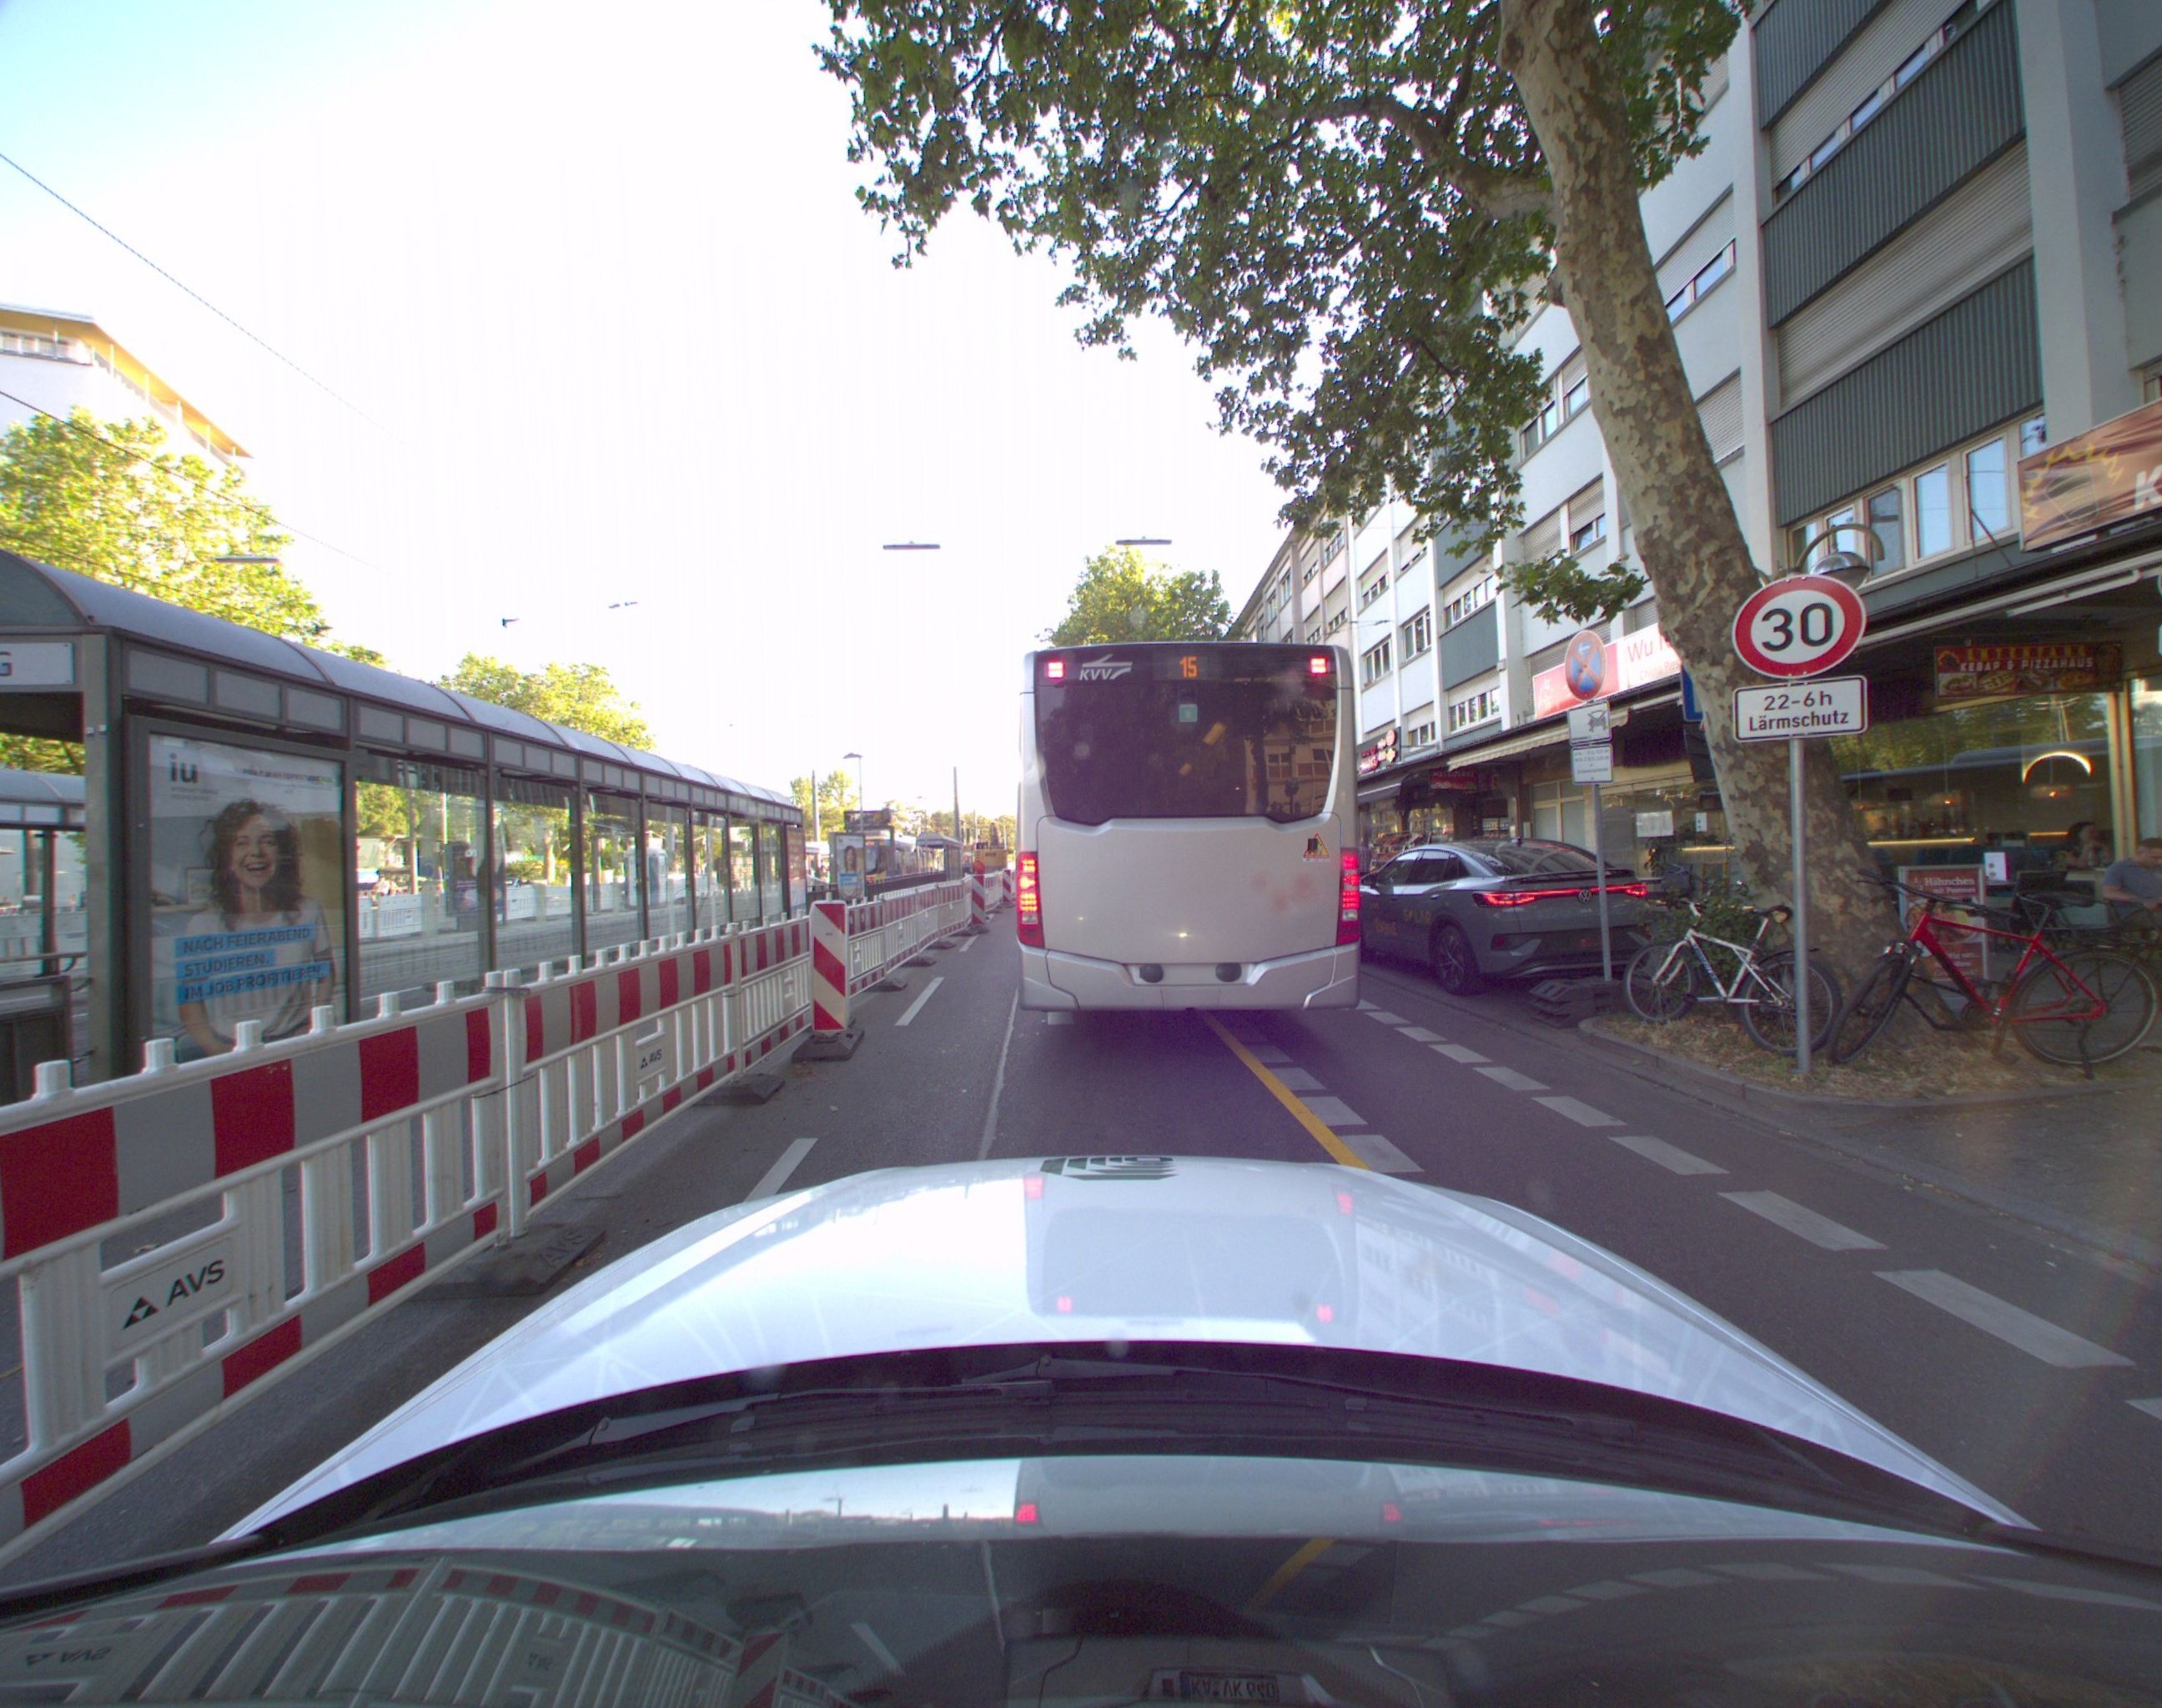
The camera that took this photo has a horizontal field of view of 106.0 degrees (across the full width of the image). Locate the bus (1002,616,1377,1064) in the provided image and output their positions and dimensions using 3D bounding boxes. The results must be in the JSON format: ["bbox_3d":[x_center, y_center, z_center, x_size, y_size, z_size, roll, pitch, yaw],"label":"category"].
[{"bbox_3d":[0.885,-0.072,9.688,2.601,3.126,7.996,0,0,2],"label":"bus"}]

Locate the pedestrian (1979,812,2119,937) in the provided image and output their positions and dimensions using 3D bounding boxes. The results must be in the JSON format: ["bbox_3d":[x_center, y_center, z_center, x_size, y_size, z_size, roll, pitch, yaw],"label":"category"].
[{"bbox_3d":[11.077,0.222,9.336,0.836,1.333,0.963,-2,-1,-39],"label":"pedestrian"}]

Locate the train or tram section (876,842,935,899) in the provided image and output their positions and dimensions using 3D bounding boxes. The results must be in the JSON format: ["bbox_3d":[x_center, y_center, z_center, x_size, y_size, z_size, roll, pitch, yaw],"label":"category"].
[{"bbox_3d":[-12.155,1.080,57.340,2.682,3.558,11.559,0,-1,-5],"label":"train or tram section"}]

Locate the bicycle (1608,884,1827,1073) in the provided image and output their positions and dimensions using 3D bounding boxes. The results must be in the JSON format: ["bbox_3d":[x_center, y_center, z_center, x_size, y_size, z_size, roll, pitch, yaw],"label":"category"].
[{"bbox_3d":[4.575,0.833,5.984,0.550,1.155,1.446,-2,-1,6],"label":"bicycle"}]

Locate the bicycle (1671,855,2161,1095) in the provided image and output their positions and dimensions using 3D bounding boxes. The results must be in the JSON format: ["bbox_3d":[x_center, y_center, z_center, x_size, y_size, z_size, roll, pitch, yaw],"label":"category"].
[{"bbox_3d":[5.059,0.719,4.842,2.370,1.155,0.557,-7,-2,14],"label":"bicycle"}]

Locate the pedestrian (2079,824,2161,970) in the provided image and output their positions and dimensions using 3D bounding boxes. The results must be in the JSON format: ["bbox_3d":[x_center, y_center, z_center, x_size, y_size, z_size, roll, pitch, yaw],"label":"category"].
[{"bbox_3d":[9.673,0.366,7.293,0.555,1.245,0.692,-4,0,8],"label":"pedestrian"}]

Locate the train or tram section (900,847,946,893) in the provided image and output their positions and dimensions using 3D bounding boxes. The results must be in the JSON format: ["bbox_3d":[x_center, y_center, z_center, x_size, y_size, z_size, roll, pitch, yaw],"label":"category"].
[{"bbox_3d":[-13.184,1.289,68.855,2.683,3.533,11.558,0,-1,-6],"label":"train or tram section"}]

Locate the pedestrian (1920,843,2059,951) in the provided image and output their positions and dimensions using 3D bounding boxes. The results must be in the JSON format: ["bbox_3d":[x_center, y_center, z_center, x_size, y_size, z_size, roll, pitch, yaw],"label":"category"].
[{"bbox_3d":[9.862,0.448,8.851,0.643,1.081,0.945,-2,-1,-39],"label":"pedestrian"}]

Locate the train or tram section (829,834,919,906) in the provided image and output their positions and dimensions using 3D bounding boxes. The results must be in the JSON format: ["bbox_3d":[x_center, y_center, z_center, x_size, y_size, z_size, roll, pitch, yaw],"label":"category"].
[{"bbox_3d":[-11.287,0.828,45.760,2.681,3.534,11.756,0,-1,-3],"label":"train or tram section"}]

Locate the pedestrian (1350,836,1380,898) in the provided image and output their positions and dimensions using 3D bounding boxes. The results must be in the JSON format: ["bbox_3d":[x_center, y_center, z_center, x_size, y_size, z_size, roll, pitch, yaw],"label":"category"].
[{"bbox_3d":[7.925,0.362,22.743,0.658,1.666,0.603,-4,-1,18],"label":"pedestrian"}]

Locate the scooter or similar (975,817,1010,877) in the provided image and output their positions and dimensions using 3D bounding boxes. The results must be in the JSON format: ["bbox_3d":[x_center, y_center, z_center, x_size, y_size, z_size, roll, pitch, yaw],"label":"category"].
[{"bbox_3d":[-6.968,-0.534,64.759,2.465,4.471,5.961,-2,-1,-5],"label":"scooter or similar"}]

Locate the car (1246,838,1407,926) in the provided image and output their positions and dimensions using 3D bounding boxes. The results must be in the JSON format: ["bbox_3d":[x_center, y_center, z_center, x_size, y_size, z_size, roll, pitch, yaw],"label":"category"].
[{"bbox_3d":[5.220,0.543,17.989,1.989,1.582,4.364,-4,0,-3],"label":"car"}]

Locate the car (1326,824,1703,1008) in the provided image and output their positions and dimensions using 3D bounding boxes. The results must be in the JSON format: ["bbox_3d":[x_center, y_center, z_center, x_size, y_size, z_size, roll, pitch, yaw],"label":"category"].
[{"bbox_3d":[4.727,0.575,9.802,1.989,1.582,4.364,-4,0,-3],"label":"car"}]
